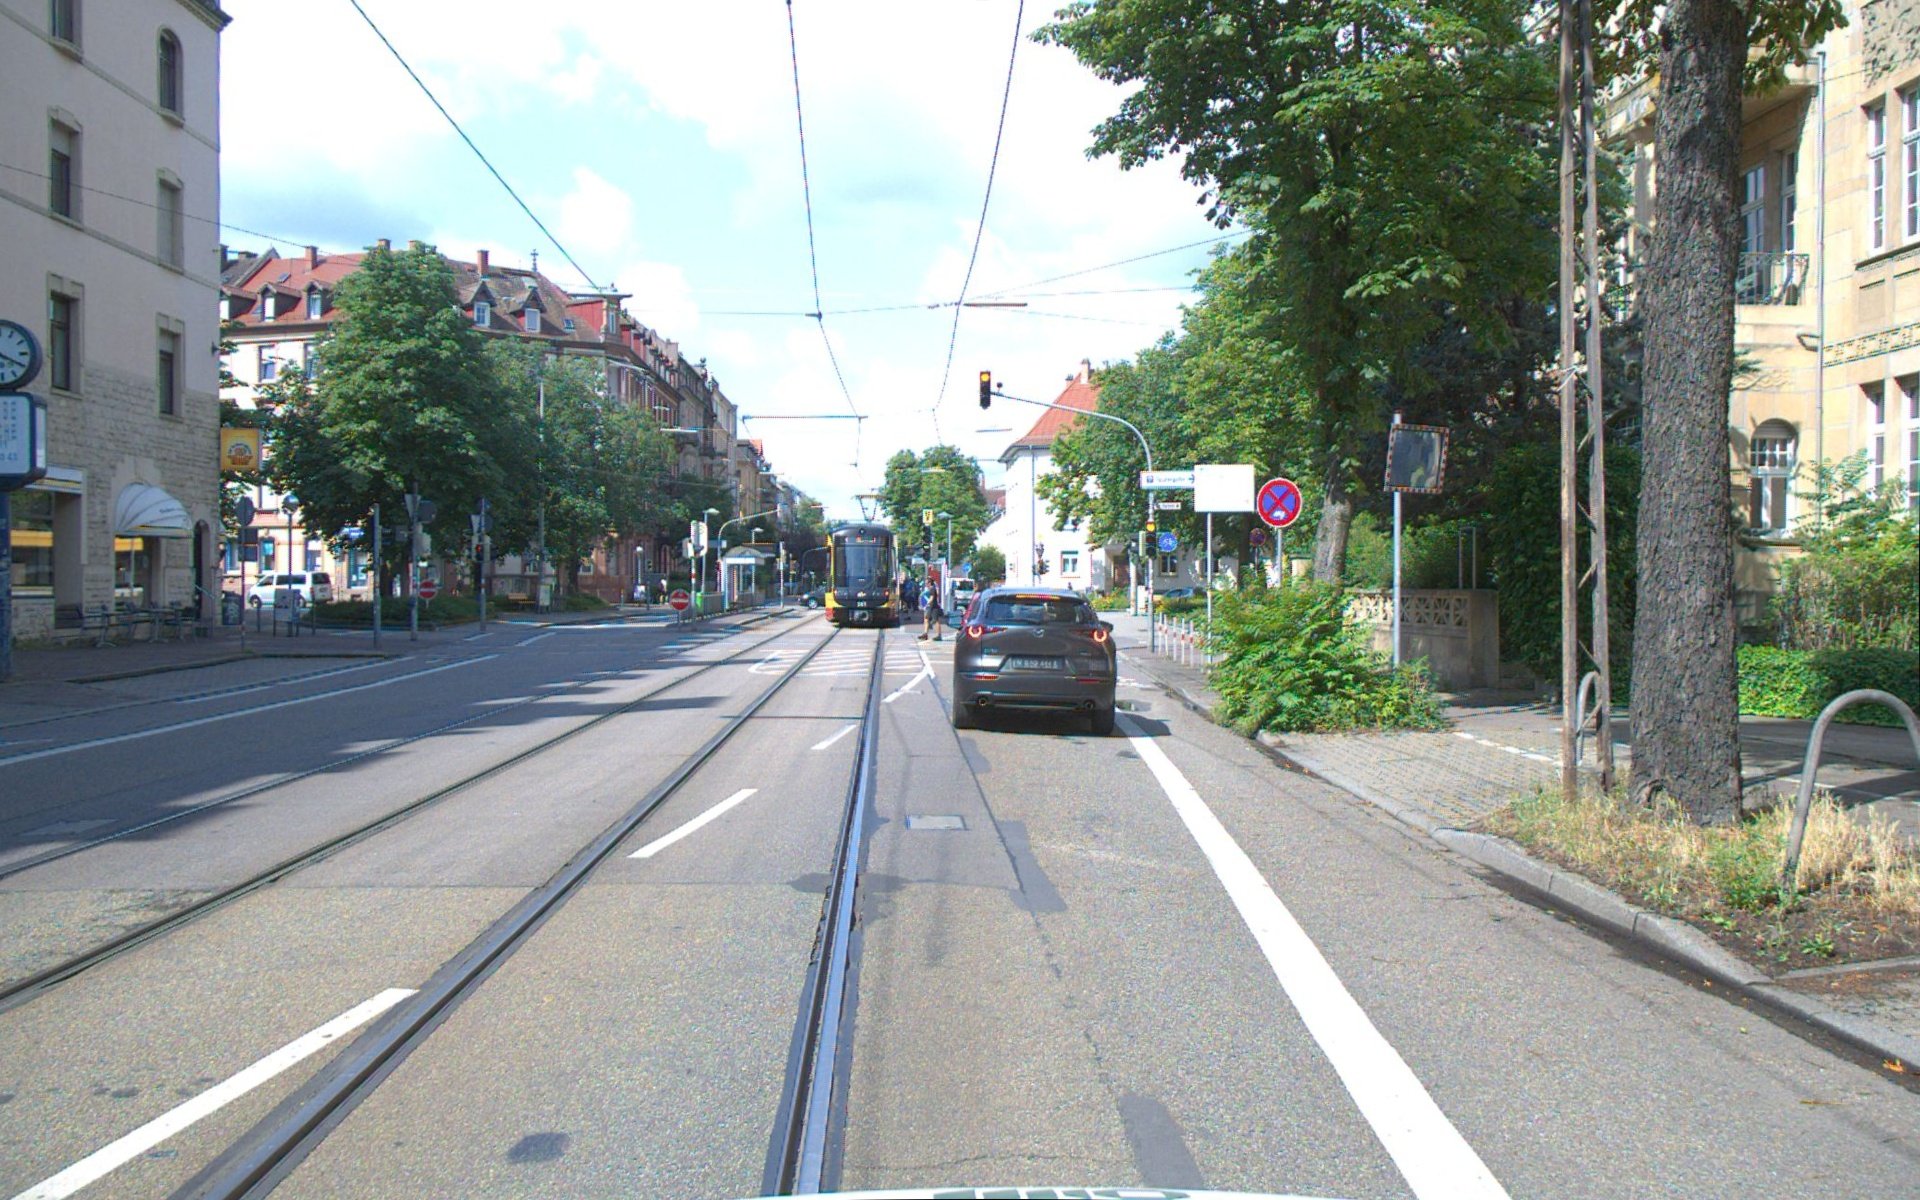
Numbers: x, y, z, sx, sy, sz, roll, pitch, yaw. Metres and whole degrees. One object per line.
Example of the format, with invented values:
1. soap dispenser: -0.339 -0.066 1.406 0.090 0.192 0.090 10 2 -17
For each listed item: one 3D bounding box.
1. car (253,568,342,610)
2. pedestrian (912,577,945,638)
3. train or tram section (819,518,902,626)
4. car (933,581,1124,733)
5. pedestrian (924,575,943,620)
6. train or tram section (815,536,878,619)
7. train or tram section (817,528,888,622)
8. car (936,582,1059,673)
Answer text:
1. car: -36.721 -0.605 91.703 4.032 2.048 2.002 -3 0 7
2. pedestrian: -0.849 0.198 44.811 0.858 1.633 0.631 0 0 -6
3. train or tram section: -3.673 -0.957 59.465 2.600 3.589 8.486 -1 0 -6
4. car: 0.675 0.565 19.251 1.754 1.538 4.348 1 1 -4
5. pedestrian: -0.978 -0.084 60.462 0.654 1.633 0.699 0 0 -4
6. train or tram section: -5.313 -0.994 76.387 2.600 3.589 8.486 -1 0 -6
7. train or tram section: -4.497 -0.971 67.922 2.600 3.589 8.486 -1 0 -6
8. car: 0.602 0.435 30.667 1.750 1.518 4.878 0 1 -5
